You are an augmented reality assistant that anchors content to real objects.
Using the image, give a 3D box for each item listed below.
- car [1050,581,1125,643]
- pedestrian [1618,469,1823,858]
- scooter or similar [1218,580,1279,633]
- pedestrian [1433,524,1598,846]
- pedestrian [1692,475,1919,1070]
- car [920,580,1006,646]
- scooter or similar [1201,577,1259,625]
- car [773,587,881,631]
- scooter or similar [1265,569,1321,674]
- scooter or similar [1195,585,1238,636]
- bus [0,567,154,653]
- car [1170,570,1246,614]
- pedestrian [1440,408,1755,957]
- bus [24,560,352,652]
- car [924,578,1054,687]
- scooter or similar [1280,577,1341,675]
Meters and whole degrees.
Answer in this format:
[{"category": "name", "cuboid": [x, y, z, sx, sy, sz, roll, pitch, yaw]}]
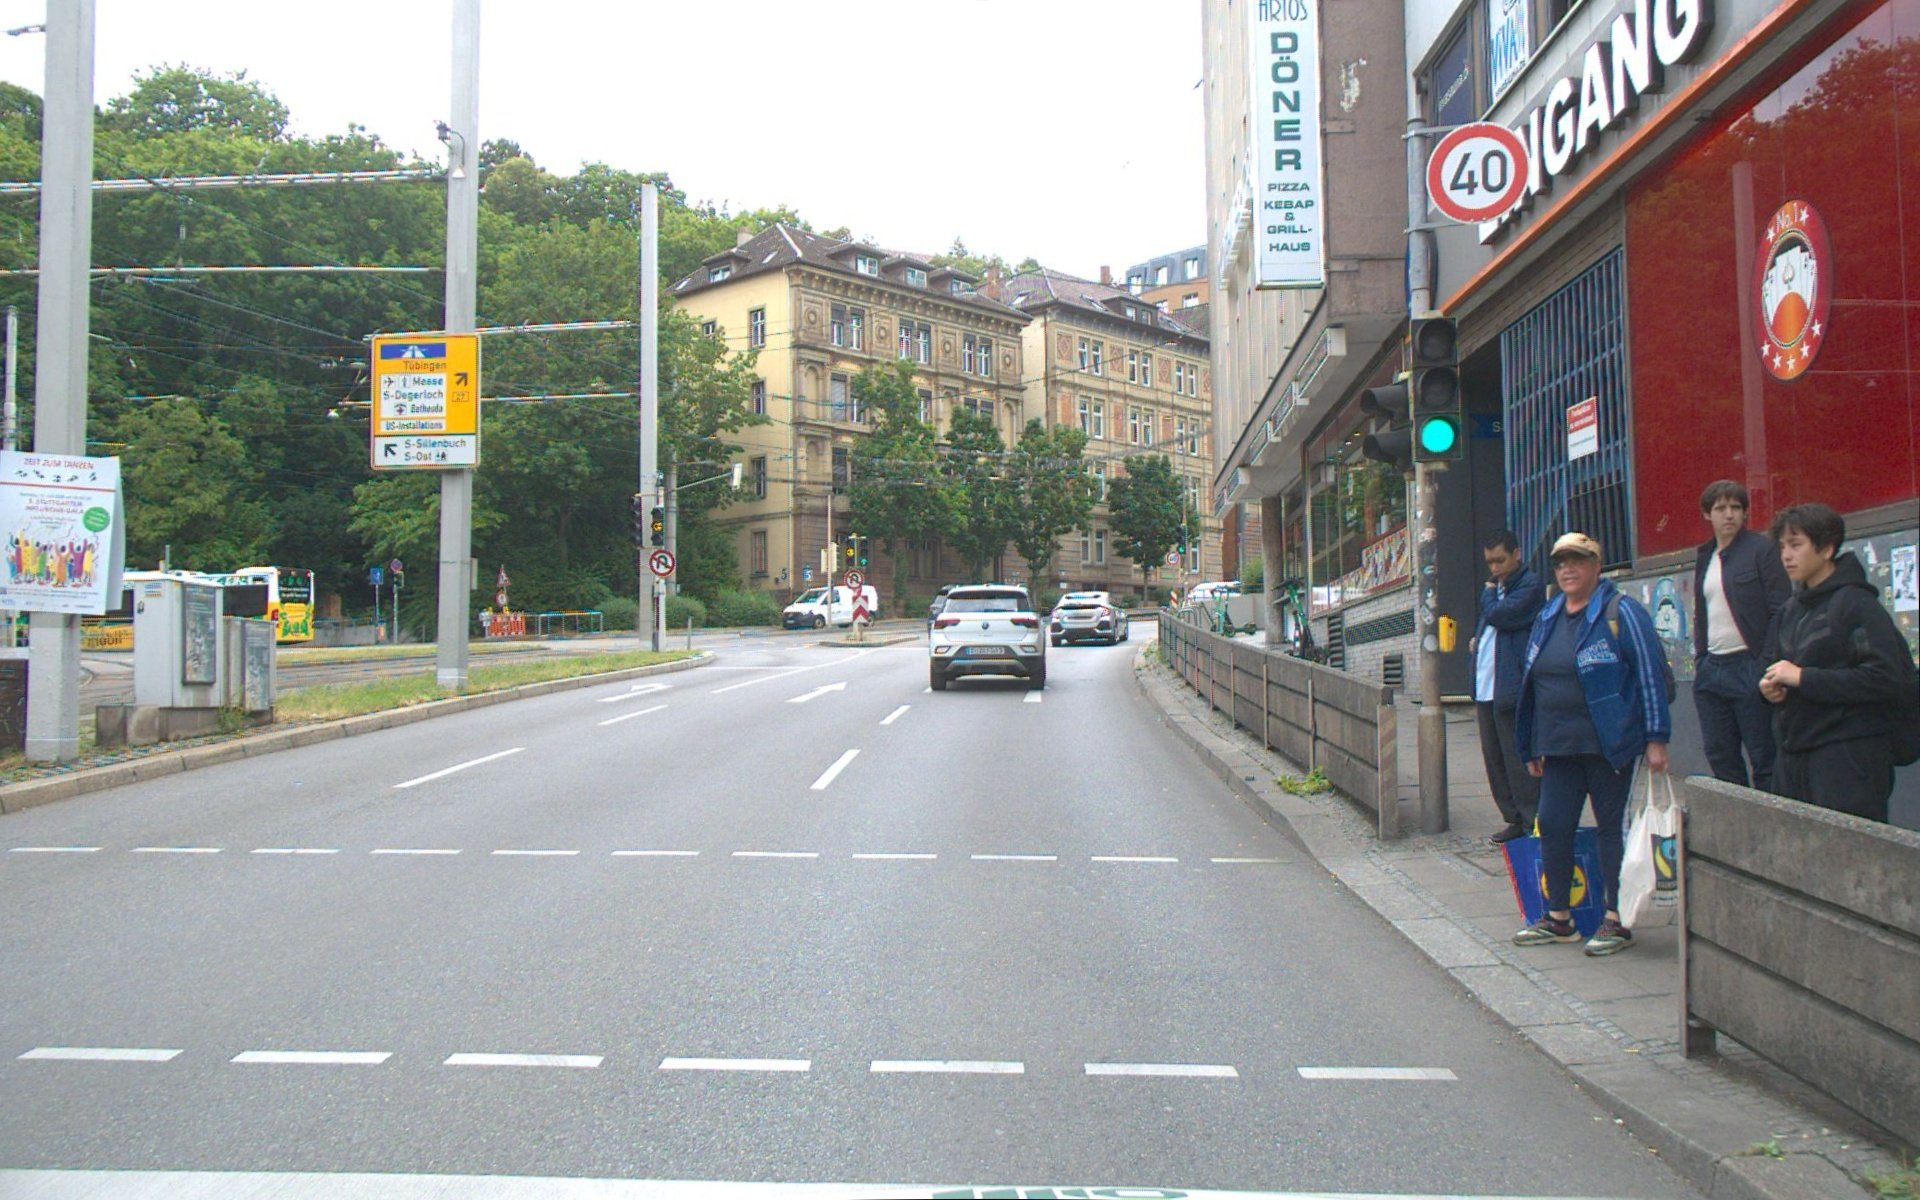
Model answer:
[{"category": "car", "cuboid": [3.450, 0.339, 45.305, 1.863, 1.601, 3.835, 1, 0, 2]}, {"category": "pedestrian", "cuboid": [3.743, 0.300, 8.184, 0.711, 1.840, 0.654, 1, 0, 1]}, {"category": "scooter or similar", "cuboid": [7.260, 0.162, 41.577, 1.423, 1.276, 0.552, -3, 1, -27]}, {"category": "pedestrian", "cuboid": [3.085, 0.458, 9.231, 0.550, 1.680, 0.591, -6, 0, 1]}, {"category": "pedestrian", "cuboid": [2.902, 0.532, 5.412, 0.722, 1.825, 0.655, 1, 0, 1]}, {"category": "car", "cuboid": [0.133, 0.320, 46.650, 1.800, 1.770, 4.004, 0, 1, 9]}, {"category": "scooter or similar", "cuboid": [7.075, 0.026, 43.318, 1.423, 1.203, 0.578, -1, 0, -27]}, {"category": "car", "cuboid": [-5.909, 0.397, 74.089, 1.963, 1.882, 4.967, 1, 0, 39]}, {"category": "scooter or similar", "cuboid": [4.907, 0.314, 24.417, 0.654, 1.501, 1.179, -1, 0, 5]}, {"category": "scooter or similar", "cuboid": [6.222, 0.249, 40.116, 0.995, 1.203, 0.373, -1, 0, -27]}, {"category": "bus", "cuboid": [-37.129, 0.444, 63.447, 11.084, 3.097, 3.327, -1, 0, 7]}, {"category": "car", "cuboid": [9.113, -0.274, 60.533, 1.899, 1.532, 3.805, 0, 0, 23]}, {"category": "pedestrian", "cuboid": [2.591, 0.323, 6.821, 0.927, 2.099, 0.778, -2, 0, 1]}, {"category": "bus", "cuboid": [-28.965, 0.236, 62.158, 11.264, 3.082, 3.393, -1, 0, 11]}, {"category": "car", "cuboid": [0.504, 0.488, 26.198, 1.898, 1.594, 4.047, 0, 0, 2]}, {"category": "scooter or similar", "cuboid": [4.703, 0.333, 22.223, 0.617, 1.271, 1.334, -1, 0, 5]}]
